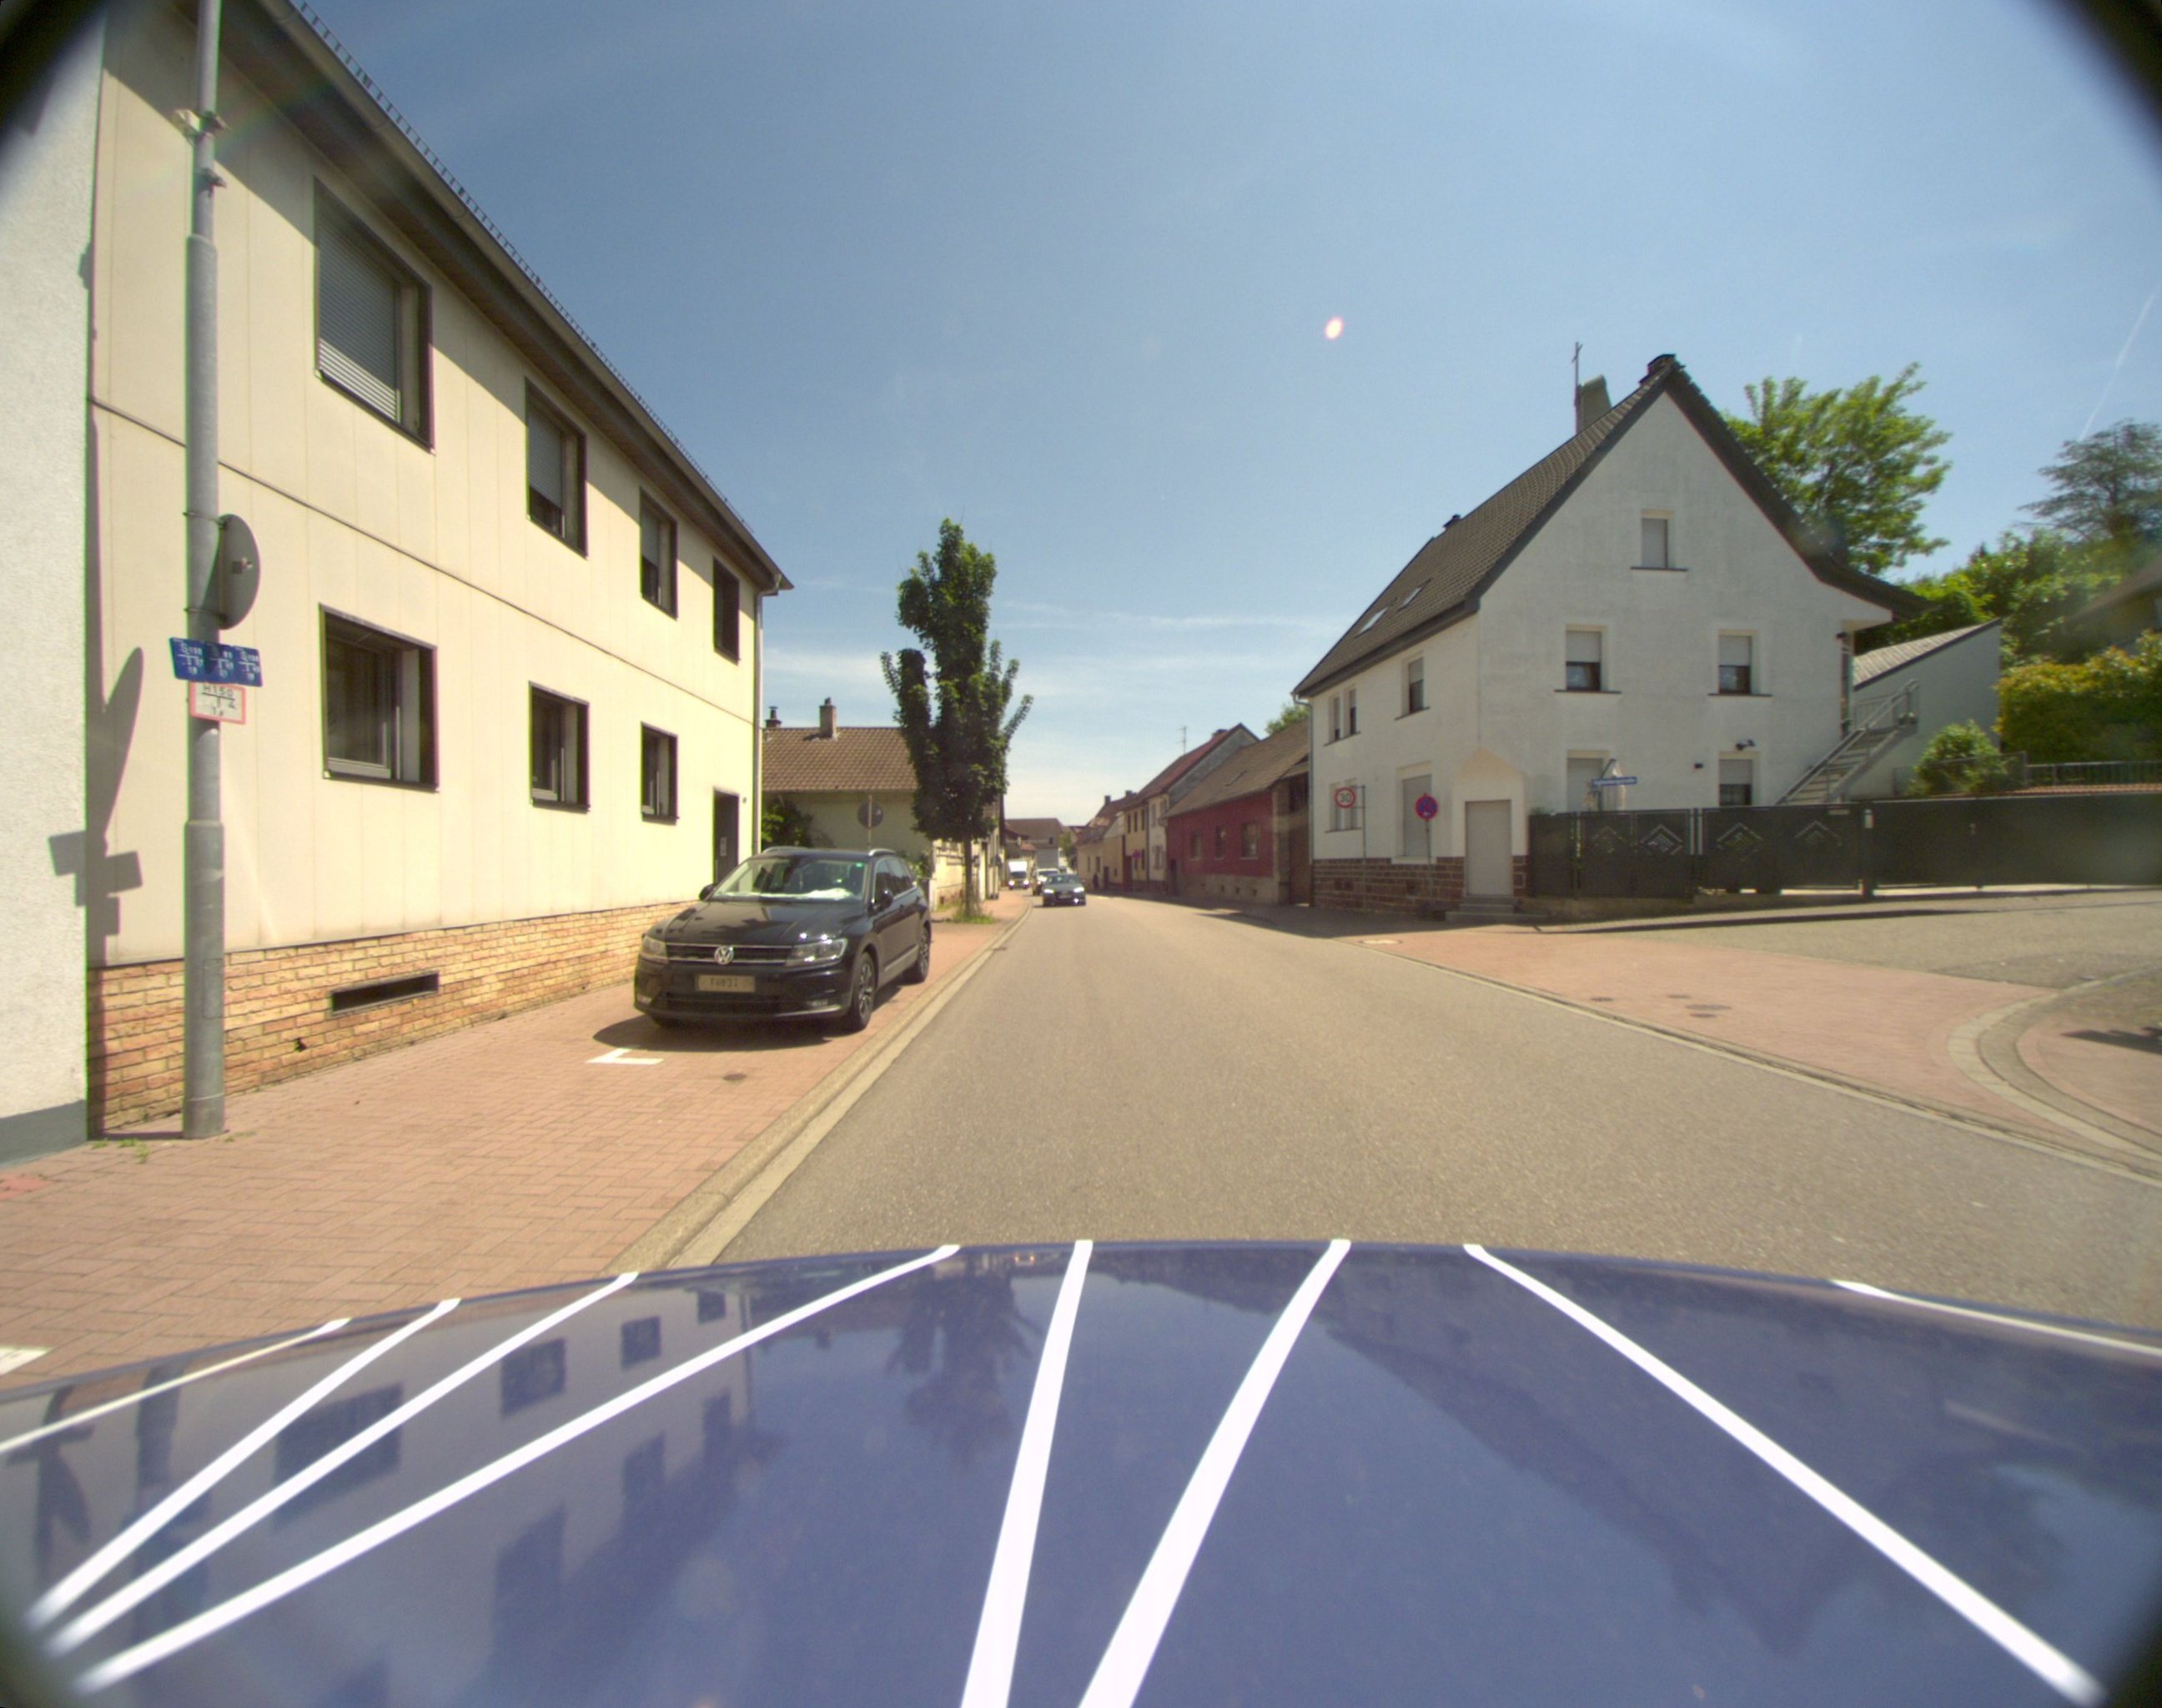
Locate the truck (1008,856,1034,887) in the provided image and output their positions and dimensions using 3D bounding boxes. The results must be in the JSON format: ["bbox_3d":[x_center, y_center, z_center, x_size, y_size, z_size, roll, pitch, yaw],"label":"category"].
[{"bbox_3d":[-6.870,1.941,87.863,2.868,3.491,8.316,0,0,-4],"label":"truck"}]

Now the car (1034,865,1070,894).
[{"bbox_3d":[-2.190,1.797,55.759,2.080,1.949,5.515,-2,0,-8],"label":"car"}]

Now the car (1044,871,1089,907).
[{"bbox_3d":[-0.620,1.443,32.487,1.786,1.364,3.606,-2,0,-1],"label":"car"}]

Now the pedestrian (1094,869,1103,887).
[{"bbox_3d":[1.572,2.167,68.328,0.664,1.555,0.754,-2,0,-7],"label":"pedestrian"}]

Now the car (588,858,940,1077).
[{"bbox_3d":[-2.770,0.877,7.921,1.807,1.604,4.548,1,-1,-1],"label":"car"}]

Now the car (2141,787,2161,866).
[{"bbox_3d":[20.748,-0.533,12.977,1.783,1.527,3.777,-5,0,33],"label":"car"}]
